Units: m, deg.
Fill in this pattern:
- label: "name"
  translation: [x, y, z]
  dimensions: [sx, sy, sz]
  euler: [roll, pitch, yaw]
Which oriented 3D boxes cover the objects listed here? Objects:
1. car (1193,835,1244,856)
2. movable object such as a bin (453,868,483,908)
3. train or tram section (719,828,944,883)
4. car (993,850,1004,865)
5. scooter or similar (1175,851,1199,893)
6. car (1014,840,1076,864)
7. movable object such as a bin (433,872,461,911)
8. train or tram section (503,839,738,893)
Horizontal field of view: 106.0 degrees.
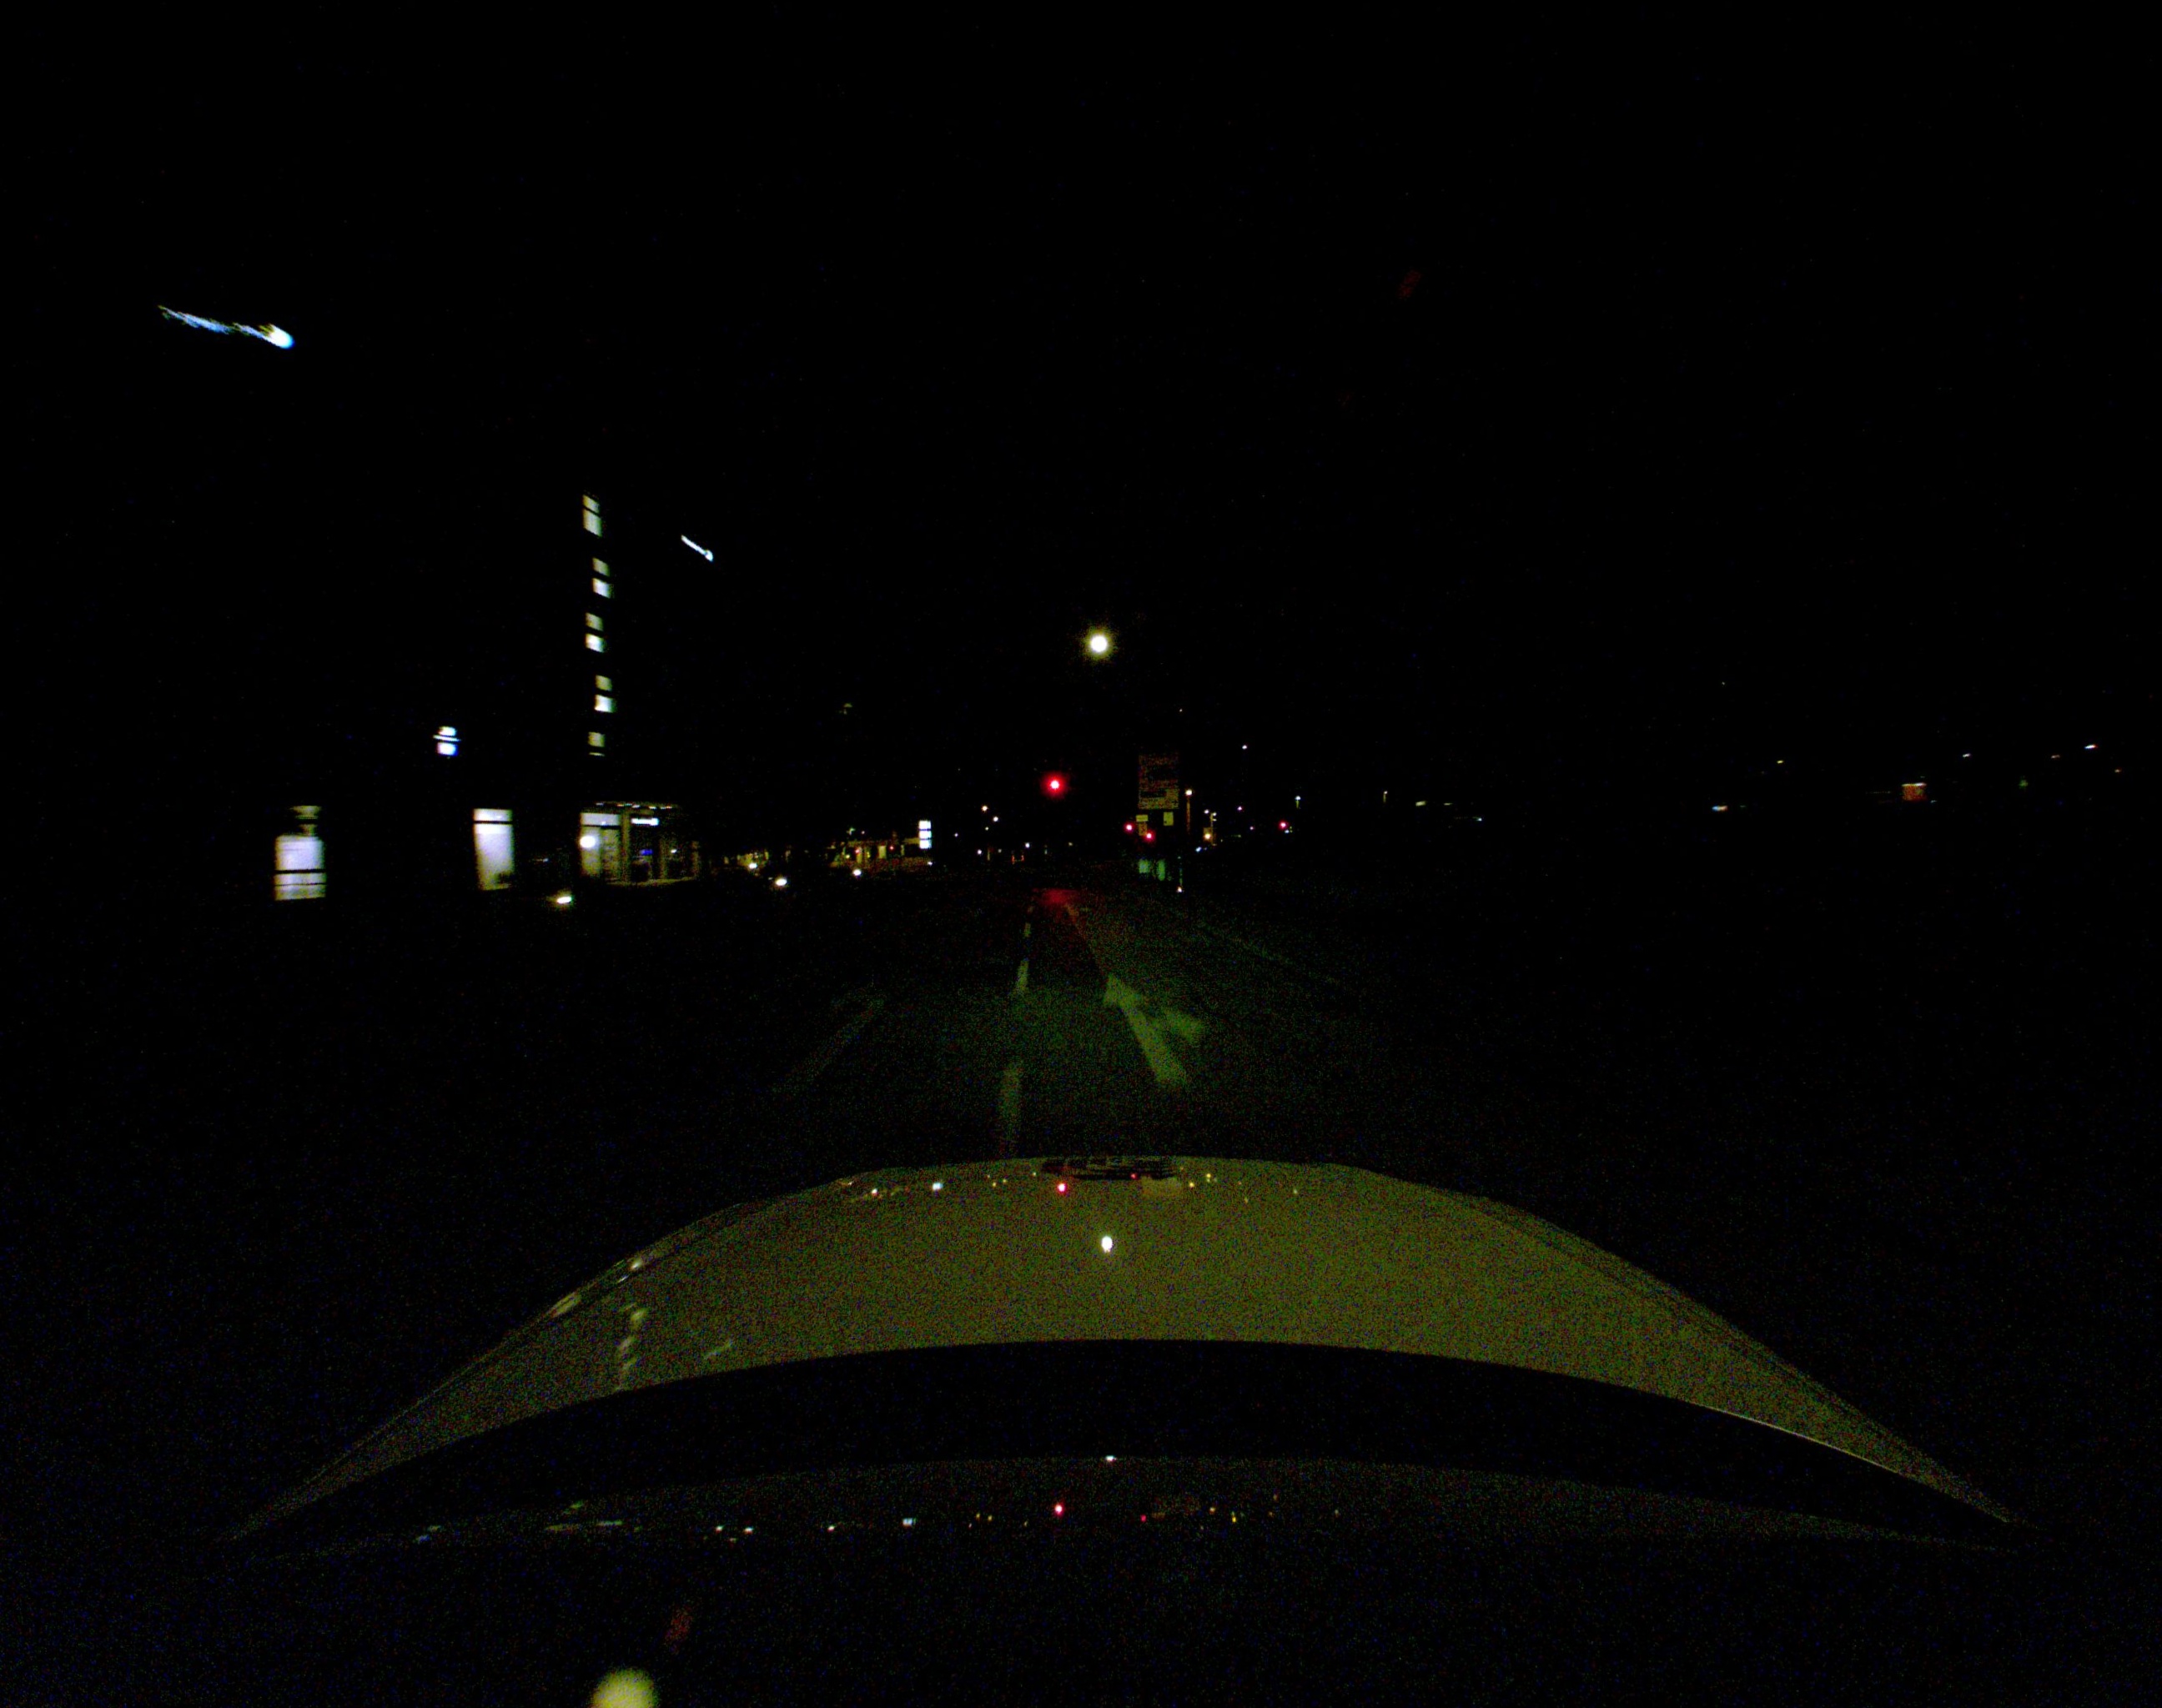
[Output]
- label: "car"
  translation: [13.420, -0.831, 79.825]
  dimensions: [4.594, 1.640, 2.002]
  euler: [-5, 0, 2]
- label: "movable object such as a bin"
  translation: [-23.528, 1.289, 31.289]
  dimensions: [0.439, 1.451, 0.809]
  euler: [-3, 1, 1]
- label: "train or tram section"
  translation: [-22.091, 0.154, 72.650]
  dimensions: [19.095, 3.823, 2.926]
  euler: [-3, 0, 3]
- label: "car"
  translation: [-16.433, 0.676, 162.135]
  dimensions: [1.992, 2.973, 3.989]
  euler: [-2, 0, -8]
- label: "scooter or similar"
  translation: [3.364, 0.565, 25.966]
  dimensions: [0.492, 1.262, 1.319]
  euler: [-4, 0, -1]
- label: "car"
  translation: [-7.847, -0.414, 175.698]
  dimensions: [12.414, 4.709, 4.782]
  euler: [-2, 0, -17]
- label: "movable object such as a bin"
  translation: [-23.648, 1.375, 30.395]
  dimensions: [0.355, 1.370, 0.732]
  euler: [-3, 3, -1]
- label: "train or tram section"
  translation: [-41.384, 1.066, 73.442]
  dimensions: [19.712, 3.861, 2.942]
  euler: [-3, 0, 2]
